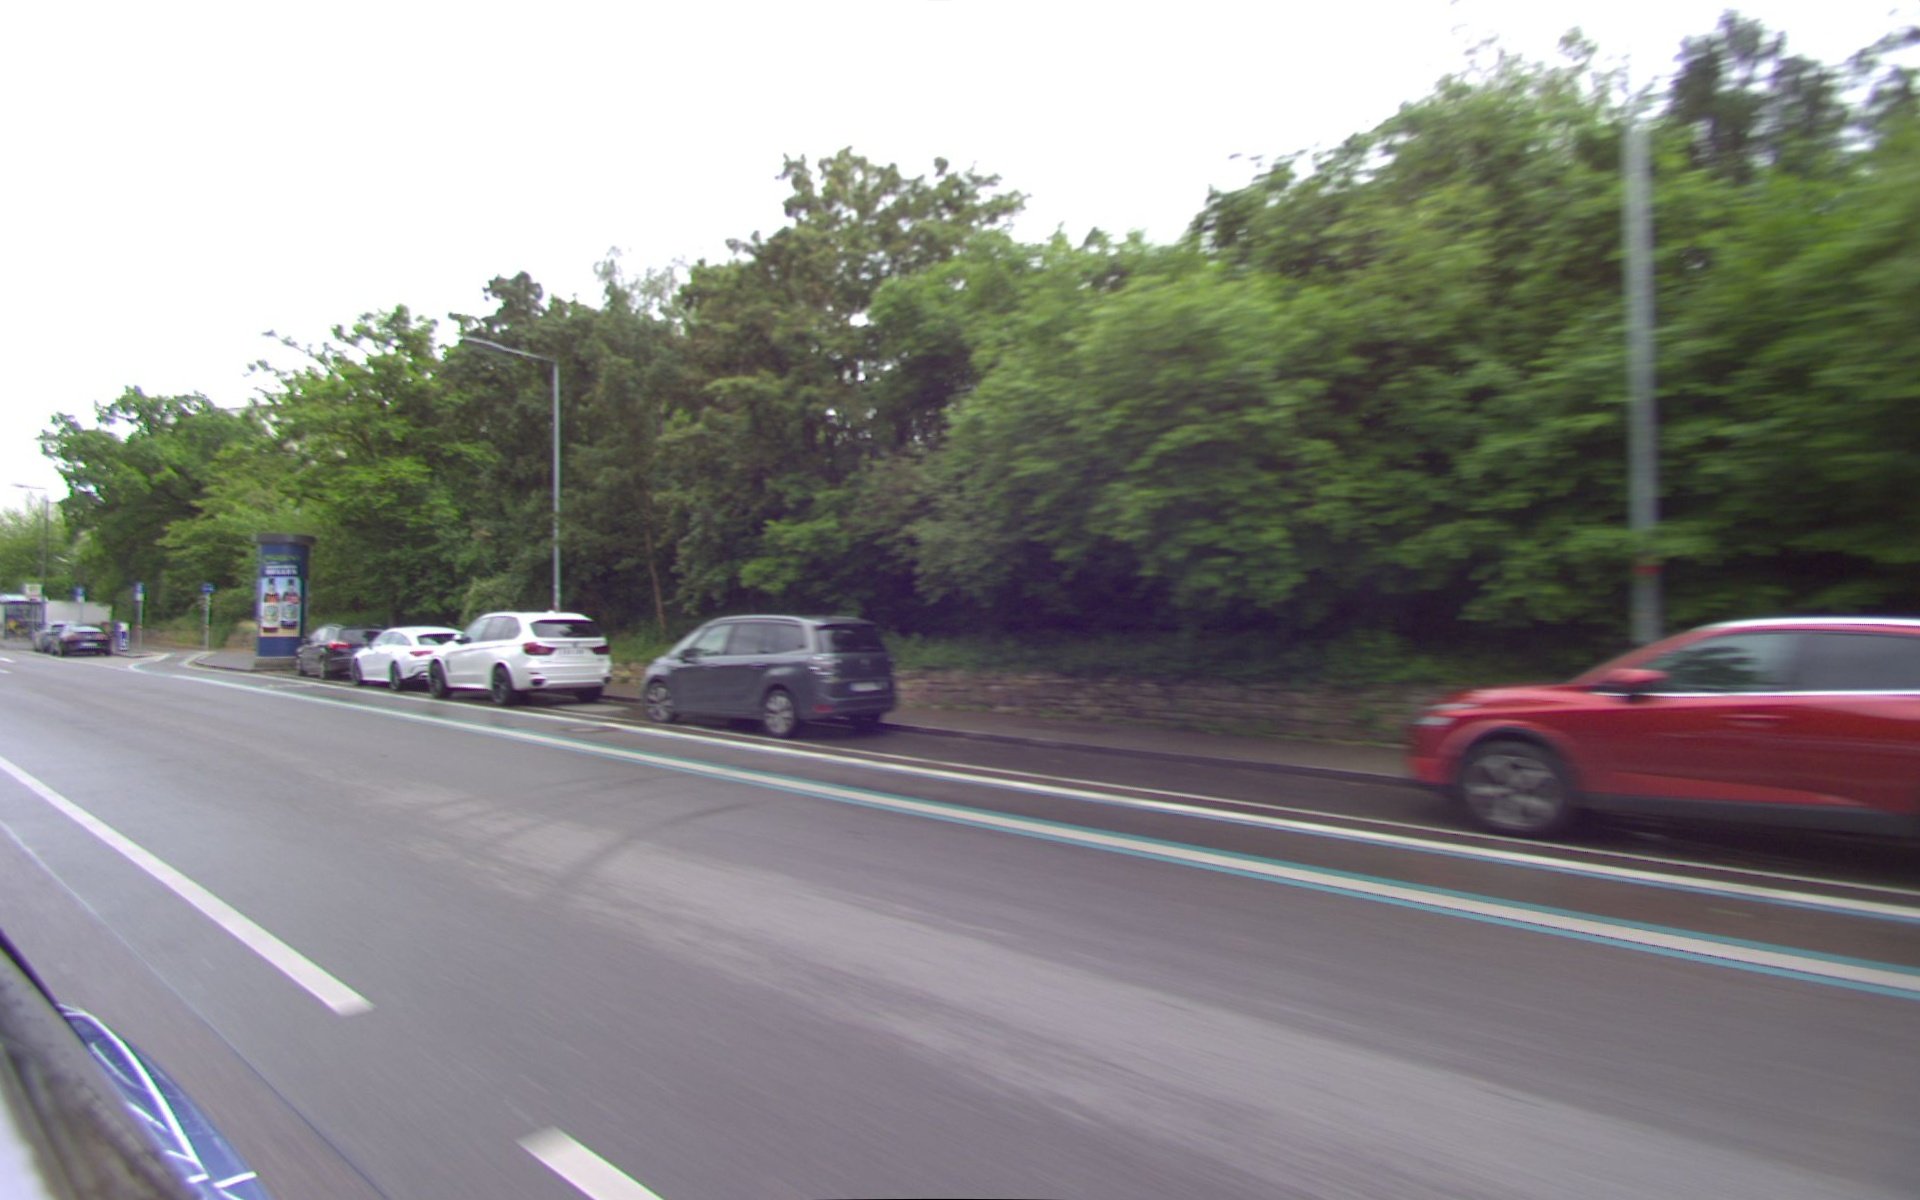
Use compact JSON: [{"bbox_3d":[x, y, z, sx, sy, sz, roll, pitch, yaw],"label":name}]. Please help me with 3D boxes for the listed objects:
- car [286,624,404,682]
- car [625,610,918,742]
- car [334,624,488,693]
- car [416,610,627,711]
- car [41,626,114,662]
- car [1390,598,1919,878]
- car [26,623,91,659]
[{"bbox_3d":[-17.154,1.429,28.142,4.588,1.456,1.729,-2,-1,44],"label":"car"},{"bbox_3d":[-2.894,1.007,14.928,4.566,1.661,1.714,-1,-1,39],"label":"car"},{"bbox_3d":[-13.137,1.326,24.096,4.705,1.471,1.700,-2,-2,41],"label":"car"},{"bbox_3d":[-8.848,1.107,20.208,4.958,1.779,1.972,-1,-1,42],"label":"car"},{"bbox_3d":[-39.930,1.963,45.751,4.781,1.425,1.886,0,0,41],"label":"car"},{"bbox_3d":[5.671,0.844,7.137,4.489,1.629,1.898,-2,-2,43],"label":"car"},{"bbox_3d":[-44.488,1.973,49.921,4.926,1.601,1.822,0,0,41],"label":"car"}]
